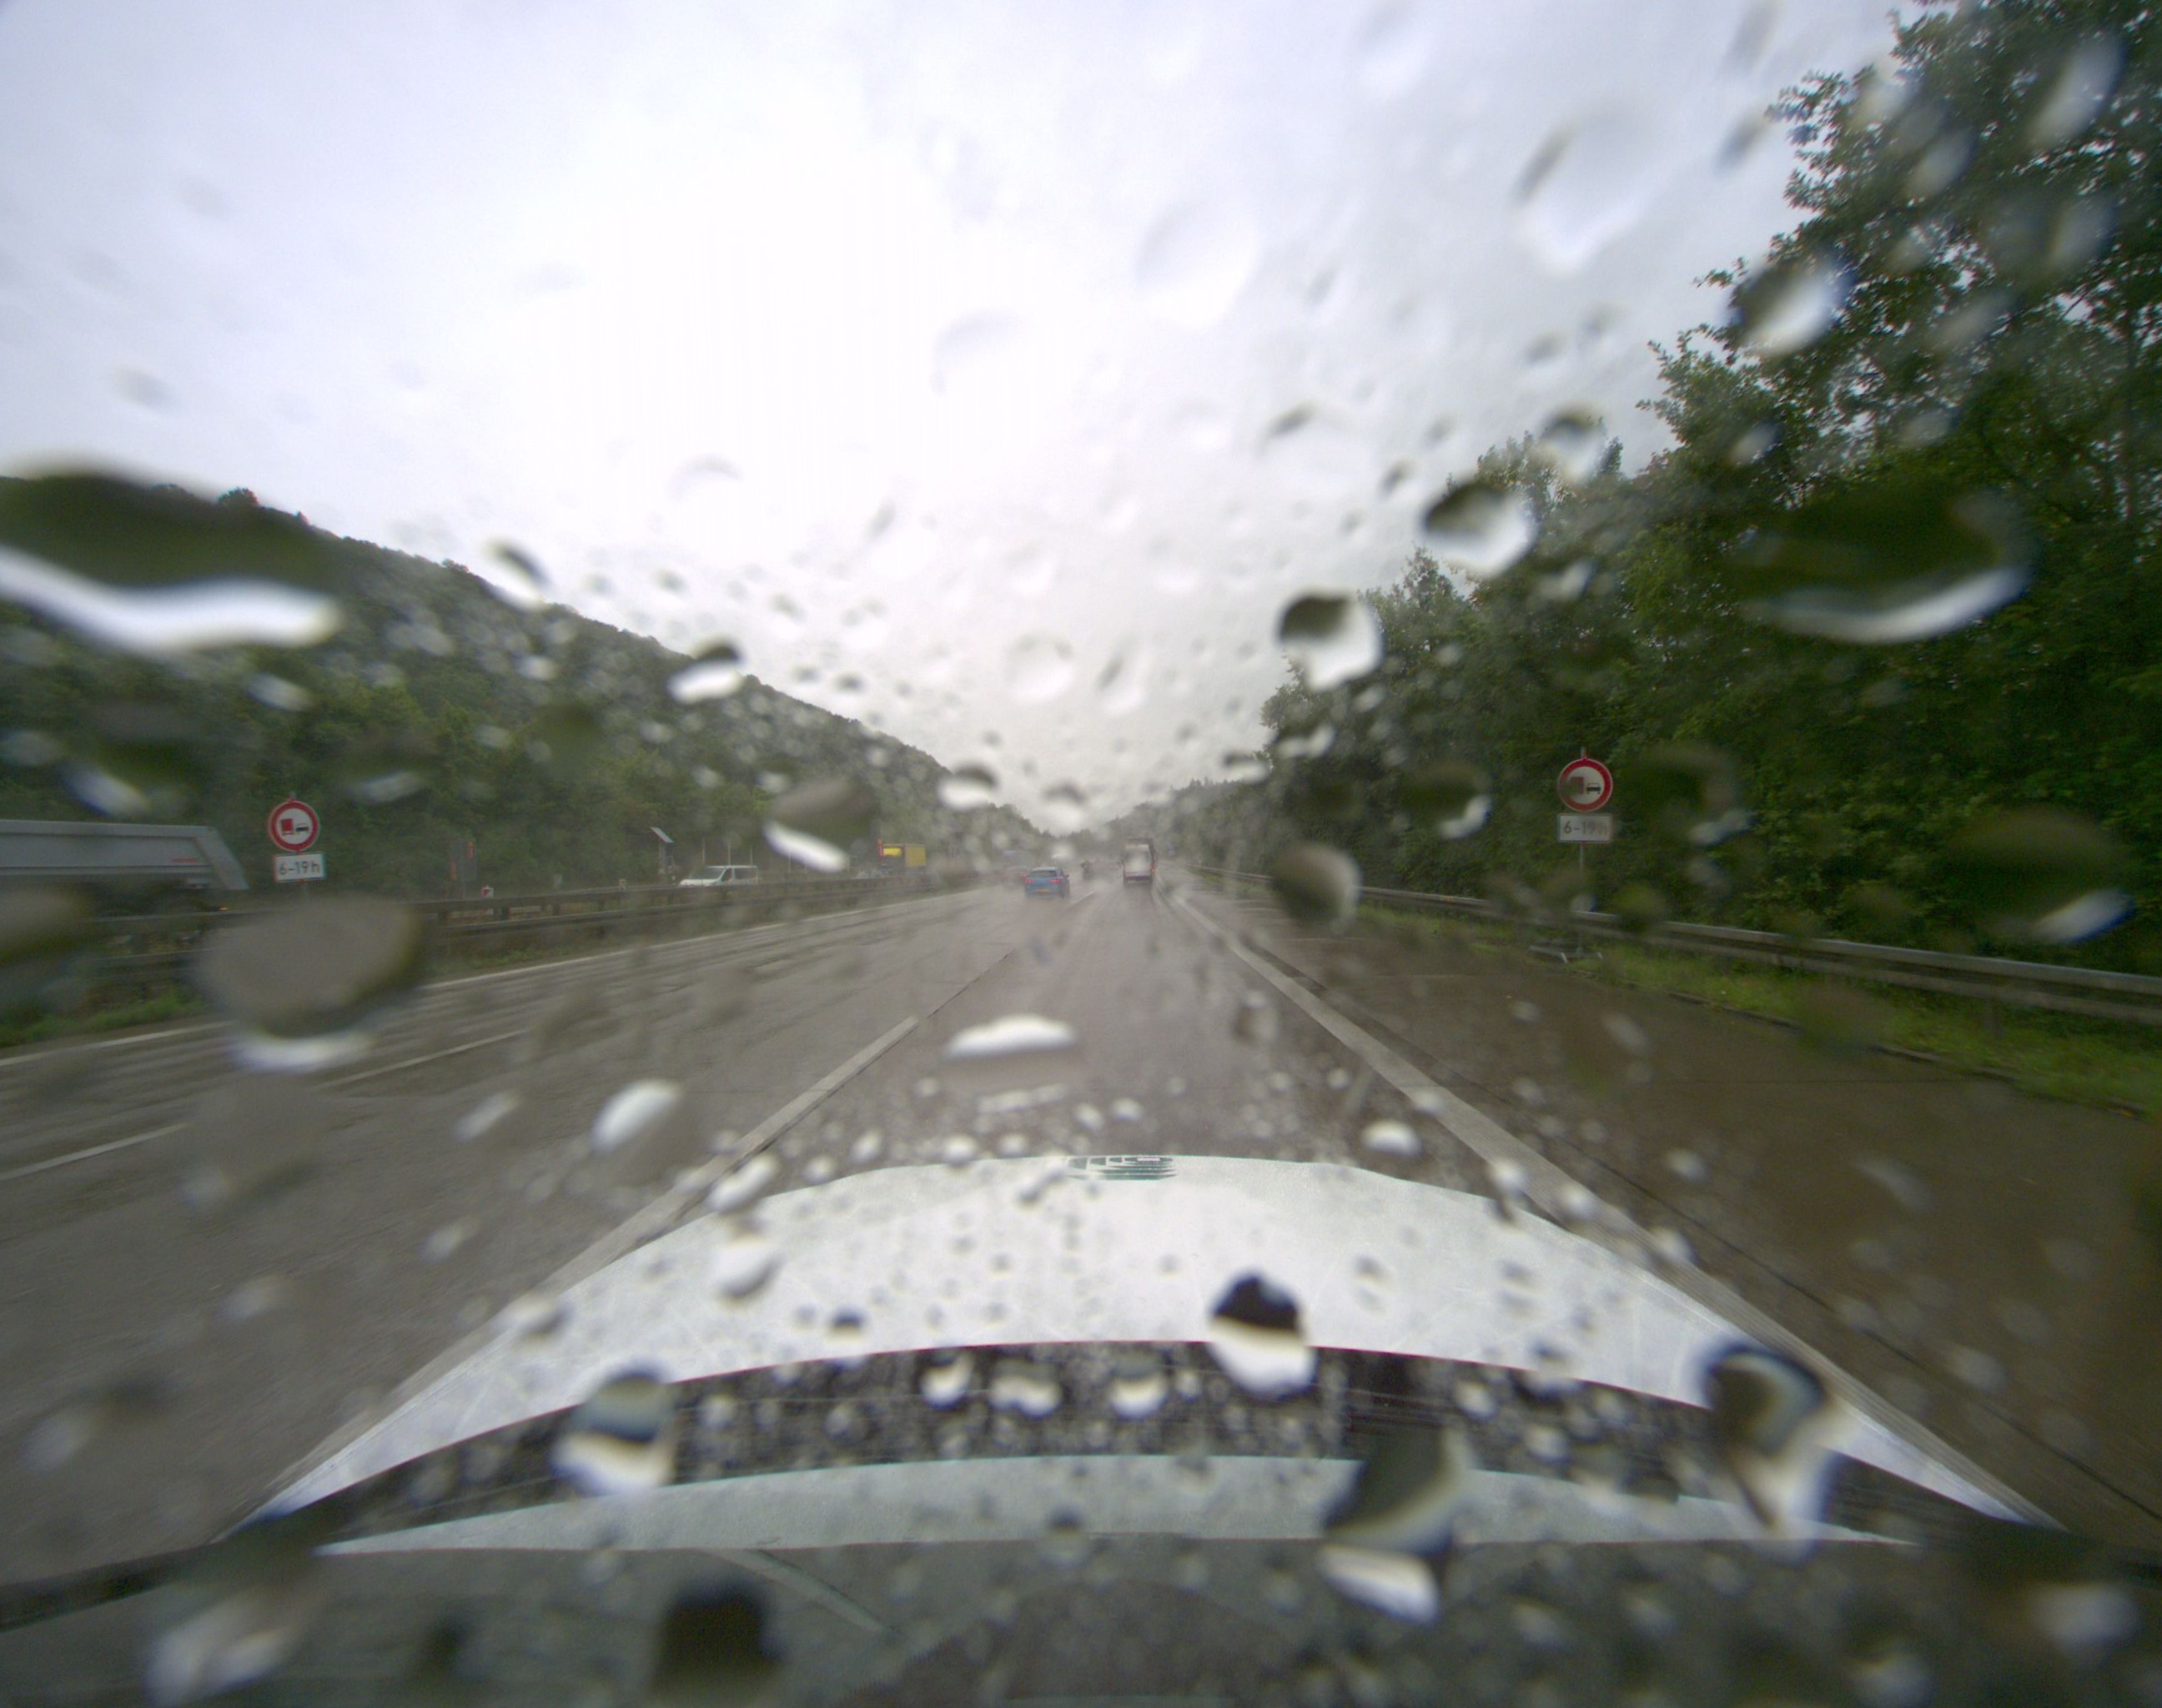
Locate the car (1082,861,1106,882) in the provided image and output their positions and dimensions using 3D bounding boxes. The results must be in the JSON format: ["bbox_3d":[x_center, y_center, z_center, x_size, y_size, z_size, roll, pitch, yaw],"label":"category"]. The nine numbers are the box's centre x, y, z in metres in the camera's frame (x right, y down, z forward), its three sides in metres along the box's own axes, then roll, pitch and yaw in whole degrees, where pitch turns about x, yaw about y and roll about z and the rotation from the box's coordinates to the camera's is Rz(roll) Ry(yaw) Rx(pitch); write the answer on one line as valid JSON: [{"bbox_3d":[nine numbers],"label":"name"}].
[{"bbox_3d":[1.213,1.529,74.022,1.860,1.810,4.193,-1,0,4],"label":"car"}]

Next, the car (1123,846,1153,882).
[{"bbox_3d":[3.888,0.649,55.720,1.891,2.334,5.256,-1,0,4],"label":"car"}]

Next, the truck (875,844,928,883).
[{"bbox_3d":[-18.199,0.974,83.434,2.573,3.700,9.811,-1,0,4],"label":"truck"}]

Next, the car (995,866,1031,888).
[{"bbox_3d":[-4.386,1.490,53.202,1.849,1.339,4.353,-1,0,2],"label":"car"}]

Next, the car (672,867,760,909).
[{"bbox_3d":[-18.577,1.686,41.742,1.969,2.014,5.202,-1,-1,3],"label":"car"}]

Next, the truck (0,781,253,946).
[{"bbox_3d":[-23.166,0.202,15.397,2.762,3.315,11.525,-1,0,3],"label":"truck"}]

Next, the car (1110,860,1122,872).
[{"bbox_3d":[5.036,1.722,116.630,1.607,1.628,4.193,-1,0,4],"label":"car"}]

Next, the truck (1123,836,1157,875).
[{"bbox_3d":[6.367,0.052,86.990,3.369,3.968,8.678,-1,1,5],"label":"truck"}]

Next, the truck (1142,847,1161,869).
[{"bbox_3d":[13.232,0.803,152.953,3.074,3.910,9.073,-1,-1,8],"label":"truck"}]

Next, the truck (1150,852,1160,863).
[{"bbox_3d":[20.737,0.931,227.800,2.574,2.981,9.034,-1,0,4],"label":"truck"}]

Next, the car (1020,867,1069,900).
[{"bbox_3d":[-1.598,1.303,36.852,1.849,1.339,4.353,-1,0,2],"label":"car"}]
